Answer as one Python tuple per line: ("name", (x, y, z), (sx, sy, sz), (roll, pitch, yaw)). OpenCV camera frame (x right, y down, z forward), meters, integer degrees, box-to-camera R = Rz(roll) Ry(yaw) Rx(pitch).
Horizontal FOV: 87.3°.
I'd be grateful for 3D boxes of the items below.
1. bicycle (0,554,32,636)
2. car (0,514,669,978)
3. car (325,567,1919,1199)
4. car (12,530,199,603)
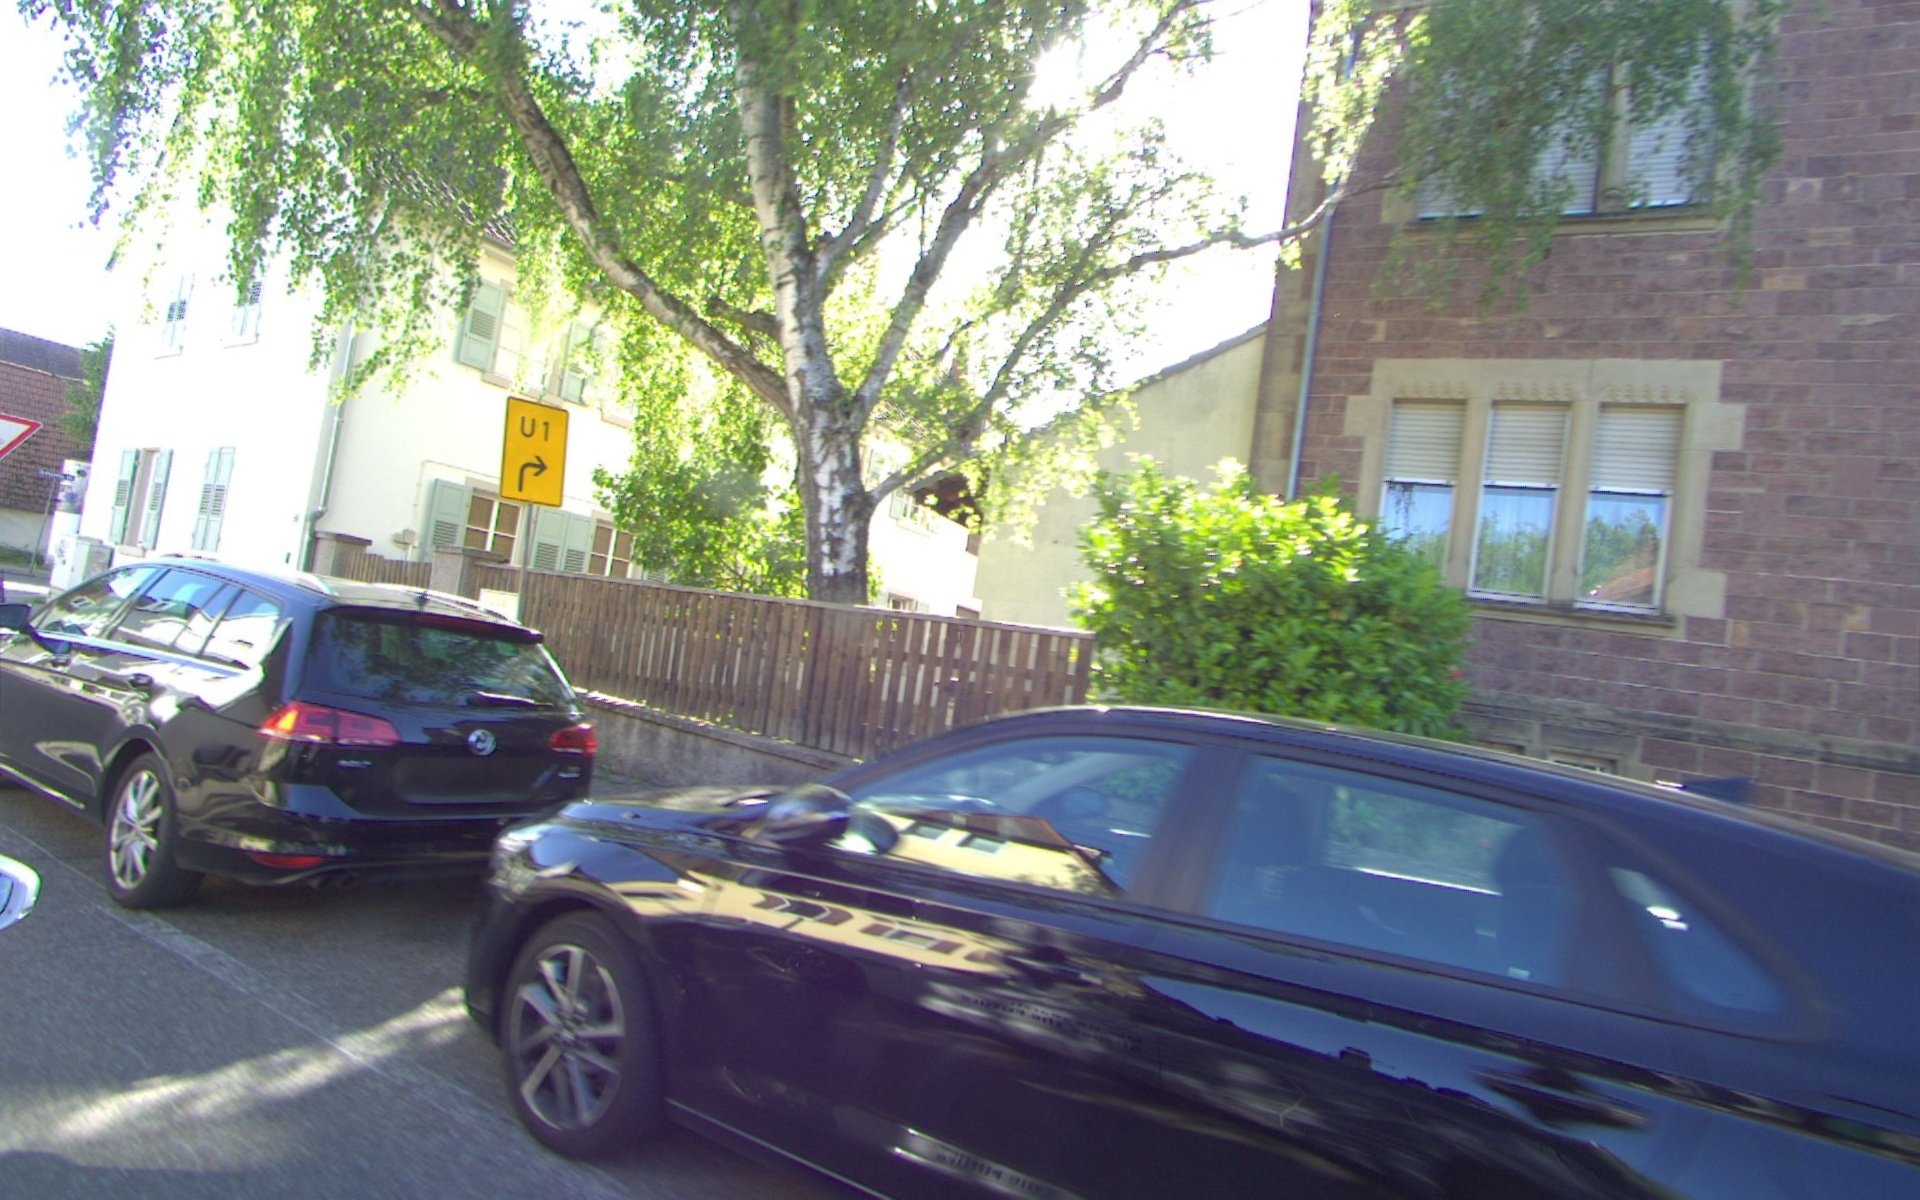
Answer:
("bicycle", (-14.051, -0.144, 14.411), (1.858, 1.091, 0.436), (6, -2, 29))
("car", (-3.772, 0.505, 5.400), (4.217, 1.451, 1.812), (7, -4, 34))
("car", (0.363, 0.960, 2.905), (4.213, 1.451, 1.814), (7, -4, 30))
("car", (-26.499, -1.000, 31.327), (1.638, 1.492, 4.000), (6, -6, 32))
